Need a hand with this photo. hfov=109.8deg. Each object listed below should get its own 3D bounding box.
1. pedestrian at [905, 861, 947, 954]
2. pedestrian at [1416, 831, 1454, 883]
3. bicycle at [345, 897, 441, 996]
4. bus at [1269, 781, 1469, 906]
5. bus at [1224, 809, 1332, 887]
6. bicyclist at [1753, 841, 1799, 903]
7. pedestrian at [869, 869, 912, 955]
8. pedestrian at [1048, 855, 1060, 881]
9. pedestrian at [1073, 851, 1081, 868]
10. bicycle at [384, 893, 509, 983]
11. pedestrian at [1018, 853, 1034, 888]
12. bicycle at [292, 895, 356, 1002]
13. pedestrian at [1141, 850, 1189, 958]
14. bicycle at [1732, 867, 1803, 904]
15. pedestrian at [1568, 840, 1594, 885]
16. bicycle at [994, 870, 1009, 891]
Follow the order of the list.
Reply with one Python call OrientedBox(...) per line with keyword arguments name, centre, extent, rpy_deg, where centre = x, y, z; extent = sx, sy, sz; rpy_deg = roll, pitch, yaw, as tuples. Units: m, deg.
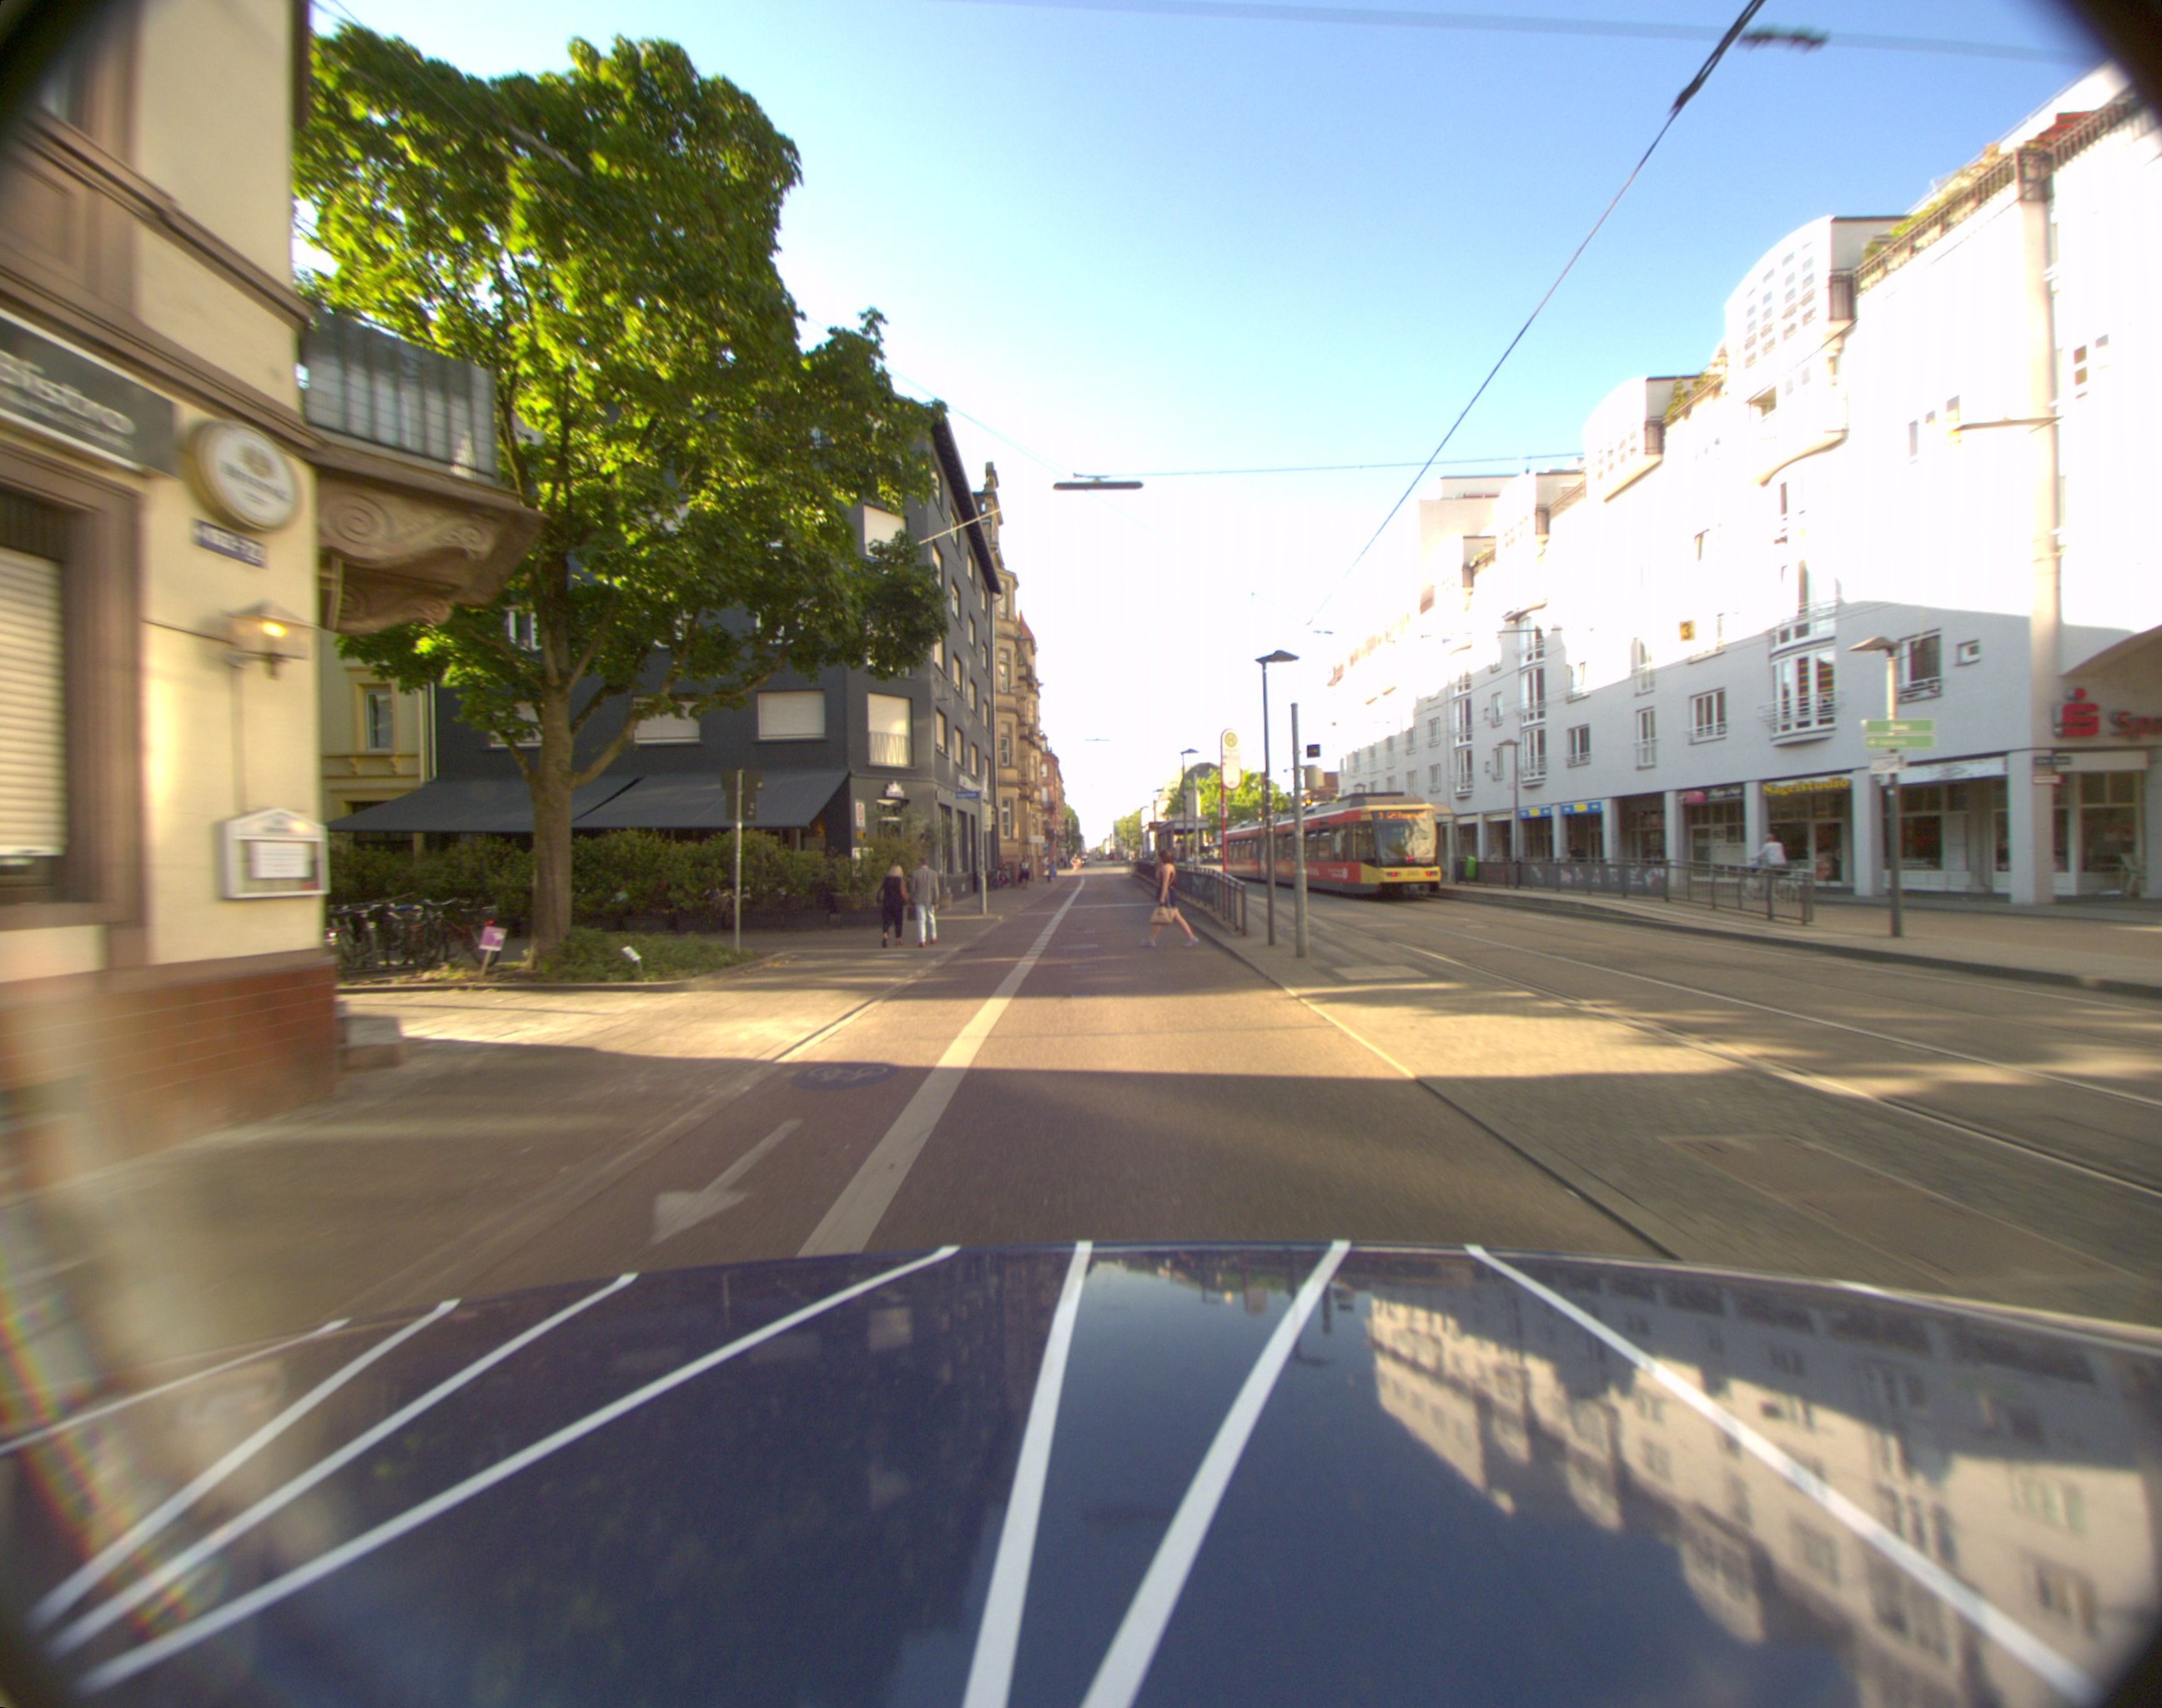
OrientedBox(name="pedestrian", centre=(-2.954, 0.996, 14.562), extent=(0.651, 1.706, 0.805), rpy_deg=(-2, 1, -5))
OrientedBox(name="pedestrian", centre=(12.669, 0.113, 27.211), extent=(0.918, 1.822, 0.978), rpy_deg=(-1, 1, 3))
OrientedBox(name="bicycle", centre=(-10.154, 1.314, 11.191), extent=(1.951, 1.313, 0.509), rpy_deg=(-1, 1, 32))
OrientedBox(name="bus", centre=(10.010, -0.321, 28.808), extent=(2.818, 3.547, 13.680), rpy_deg=(-1, 0, 2))
OrientedBox(name="bus", centre=(10.463, -0.312, 42.254), extent=(2.818, 3.547, 13.679), rpy_deg=(-1, 0, 2))
OrientedBox(name="bicyclist", centre=(19.700, 0.501, 21.547), extent=(0.514, 1.690, 0.807), rpy_deg=(-3, 1, 2))
OrientedBox(name="pedestrian", centre=(-3.614, 1.091, 14.480), extent=(0.651, 1.569, 0.682), rpy_deg=(-2, 1, -6))
OrientedBox(name="pedestrian", centre=(-1.827, 0.936, 51.267), extent=(0.694, 1.760, 0.697), rpy_deg=(-1, 1, 6))
OrientedBox(name="pedestrian", centre=(-0.410, 0.619, 80.906), extent=(0.694, 1.760, 0.697), rpy_deg=(-1, 1, 6))
OrientedBox(name="bicycle", centre=(-9.988, 1.299, 11.957), extent=(1.952, 1.313, 0.509), rpy_deg=(-1, 1, 18))
OrientedBox(name="pedestrian", centre=(-2.802, 0.830, 39.038), extent=(0.650, 1.760, 0.697), rpy_deg=(-1, 1, 6))
OrientedBox(name="bicycle", centre=(-10.694, 1.274, 10.714), extent=(1.951, 1.313, 0.509), rpy_deg=(-1, 1, 43))
OrientedBox(name="pedestrian", centre=(1.435, 0.830, 13.079), extent=(0.761, 1.789, 0.808), rpy_deg=(-1, 1, 5))
OrientedBox(name="bicycle", centre=(19.733, 0.884, 21.885), extent=(0.518, 0.983, 1.727), rpy_deg=(-3, 0, 2))
OrientedBox(name="pedestrian", centre=(19.075, 0.327, 28.995), extent=(0.533, 1.706, 0.706), rpy_deg=(-1, 1, 3))
OrientedBox(name="bicycle", centre=(-3.772, 1.264, 36.166), extent=(0.389, 0.907, 1.851), rpy_deg=(-3, 0, 2))
